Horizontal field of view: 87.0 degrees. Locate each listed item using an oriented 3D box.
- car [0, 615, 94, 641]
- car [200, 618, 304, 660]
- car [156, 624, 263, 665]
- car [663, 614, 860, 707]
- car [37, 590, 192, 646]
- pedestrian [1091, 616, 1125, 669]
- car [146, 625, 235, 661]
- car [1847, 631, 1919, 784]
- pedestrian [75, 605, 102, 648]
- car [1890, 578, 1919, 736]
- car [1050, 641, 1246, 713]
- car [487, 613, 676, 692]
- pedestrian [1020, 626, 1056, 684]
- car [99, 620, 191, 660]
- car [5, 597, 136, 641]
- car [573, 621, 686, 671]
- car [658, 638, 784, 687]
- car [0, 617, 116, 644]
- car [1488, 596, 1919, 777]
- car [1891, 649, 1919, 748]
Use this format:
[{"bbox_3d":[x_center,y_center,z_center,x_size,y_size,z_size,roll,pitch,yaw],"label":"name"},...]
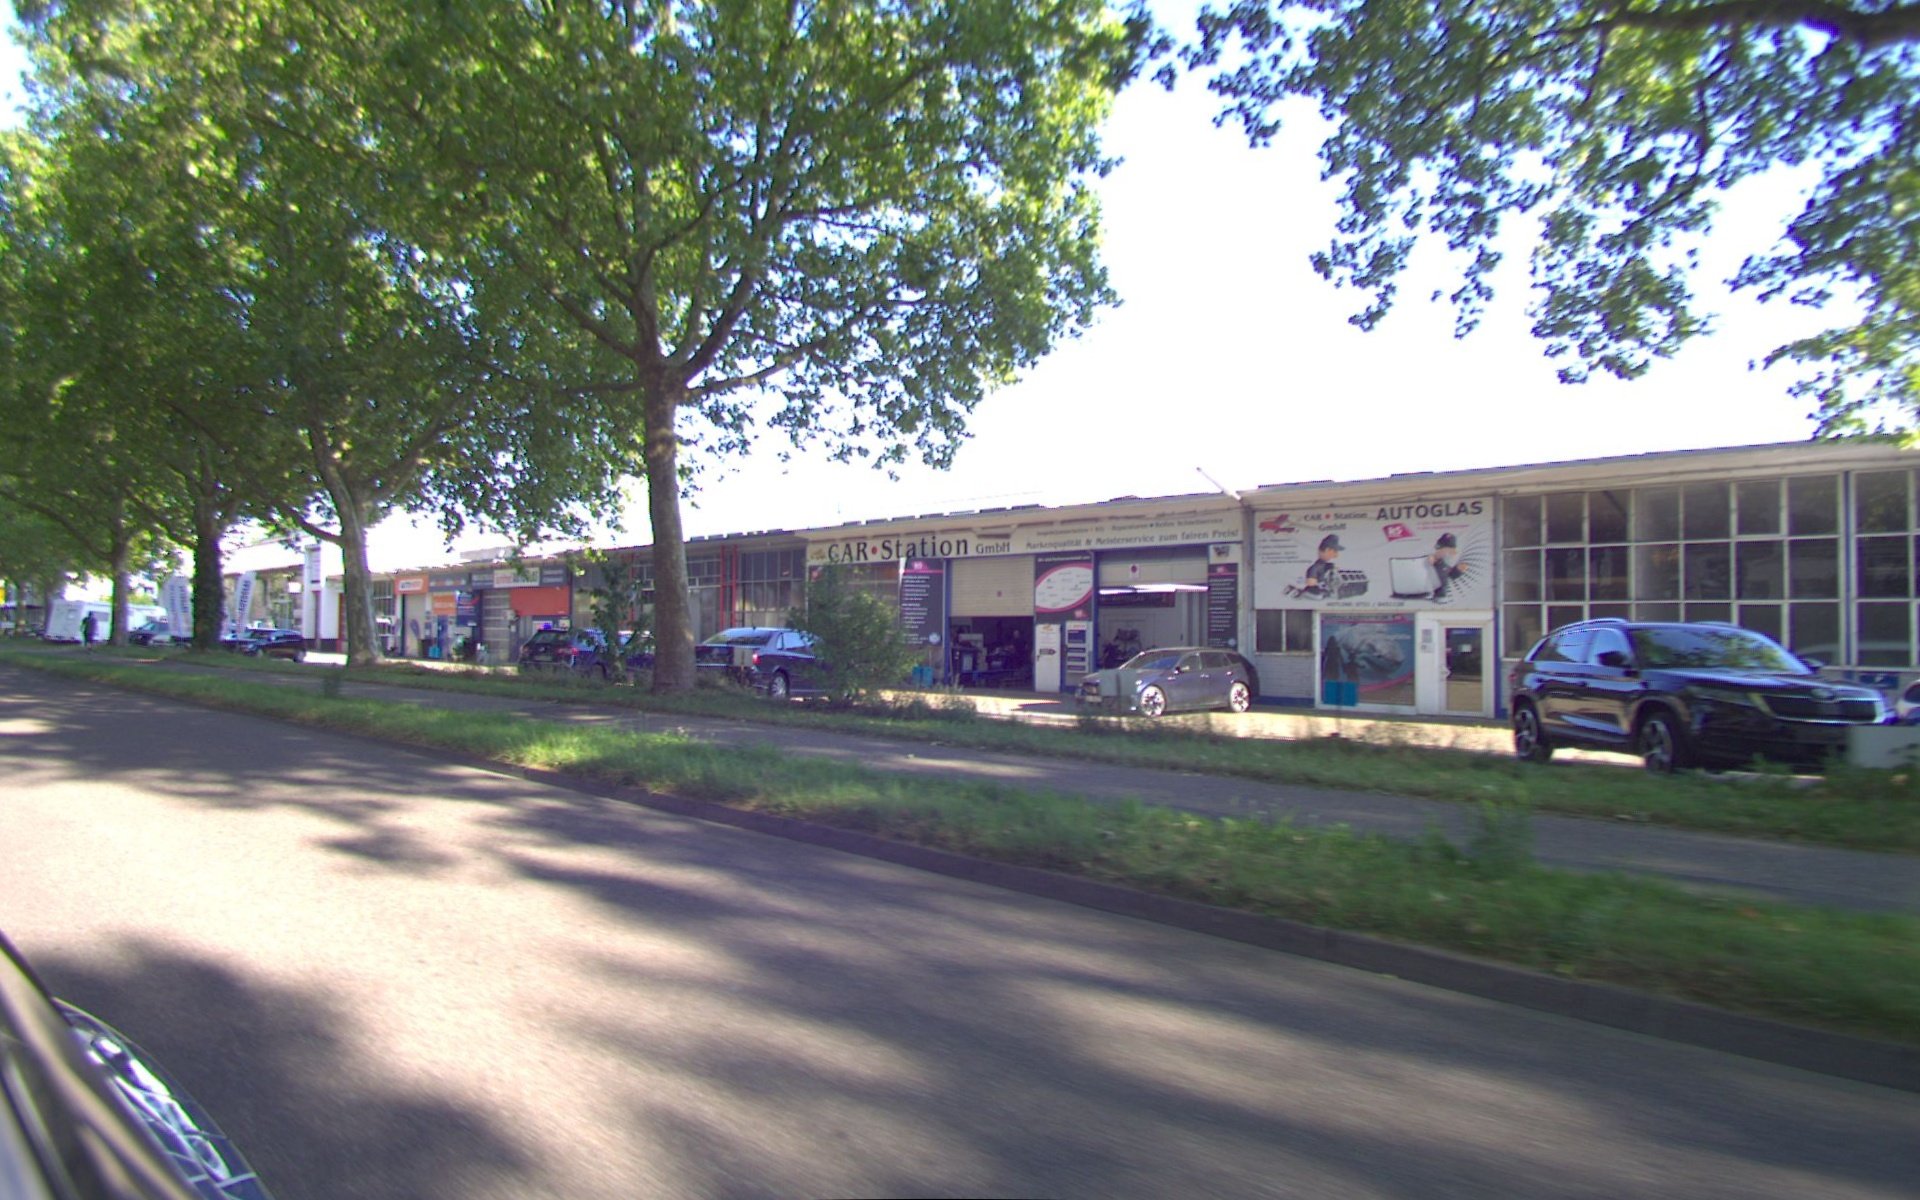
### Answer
[{"bbox_3d":[-75.166,2.322,82.527,2.708,1.693,6.321,-1,-6,22],"label":"car"},{"bbox_3d":[-29.885,1.611,42.883,1.970,1.586,3.847,0,0,-5],"label":"car"},{"bbox_3d":[-35.146,2.045,47.563,1.971,1.764,4.315,0,0,-3],"label":"car"},{"bbox_3d":[-3.705,1.080,19.779,1.983,1.541,4.326,0,0,17],"label":"car"},{"bbox_3d":[-50.886,1.162,61.221,2.575,2.875,6.931,0,-5,12],"label":"car"},{"bbox_3d":[4.311,1.227,29.409,0.684,1.483,0.686,0,0,-41],"label":"pedestrian"},{"bbox_3d":[-37.667,2.083,49.685,1.967,1.582,4.061,0,0,-12],"label":"car"},{"bbox_3d":[9.815,1.001,7.987,1.973,1.392,4.259,0,0,3],"label":"car"},{"bbox_3d":[-37.273,1.111,43.281,0.940,1.786,0.795,-1,0,43],"label":"pedestrian"},{"bbox_3d":[9.814,0.520,7.513,1.973,1.463,4.259,0,0,3],"label":"car"},{"bbox_3d":[4.353,1.681,23.145,4.403,1.331,2.004,0,0,-39],"label":"car"},{"bbox_3d":[-9.475,1.238,25.820,1.983,1.773,4.872,0,0,17],"label":"car"},{"bbox_3d":[2.347,1.624,30.408,0.770,1.689,0.785,-1,0,41],"label":"pedestrian"},{"bbox_3d":[-41.460,2.002,51.593,1.967,1.854,4.259,0,0,-12],"label":"car"},{"bbox_3d":[-60.109,1.334,68.594,2.574,2.516,6.302,0,-5,11],"label":"car"},{"bbox_3d":[-12.569,1.714,38.440,3.931,1.719,2.007,0,0,-22],"label":"car"},{"bbox_3d":[-8.210,2.108,34.672,3.931,1.453,2.007,0,0,-22],"label":"car"},{"bbox_3d":[-72.420,2.497,81.414,2.708,1.693,6.373,-1,-6,22],"label":"car"},{"bbox_3d":[7.412,0.703,10.302,1.973,1.463,4.259,0,0,3],"label":"car"},{"bbox_3d":[15.432,1.409,14.482,3.242,1.395,1.557,0,0,-14],"label":"car"}]
